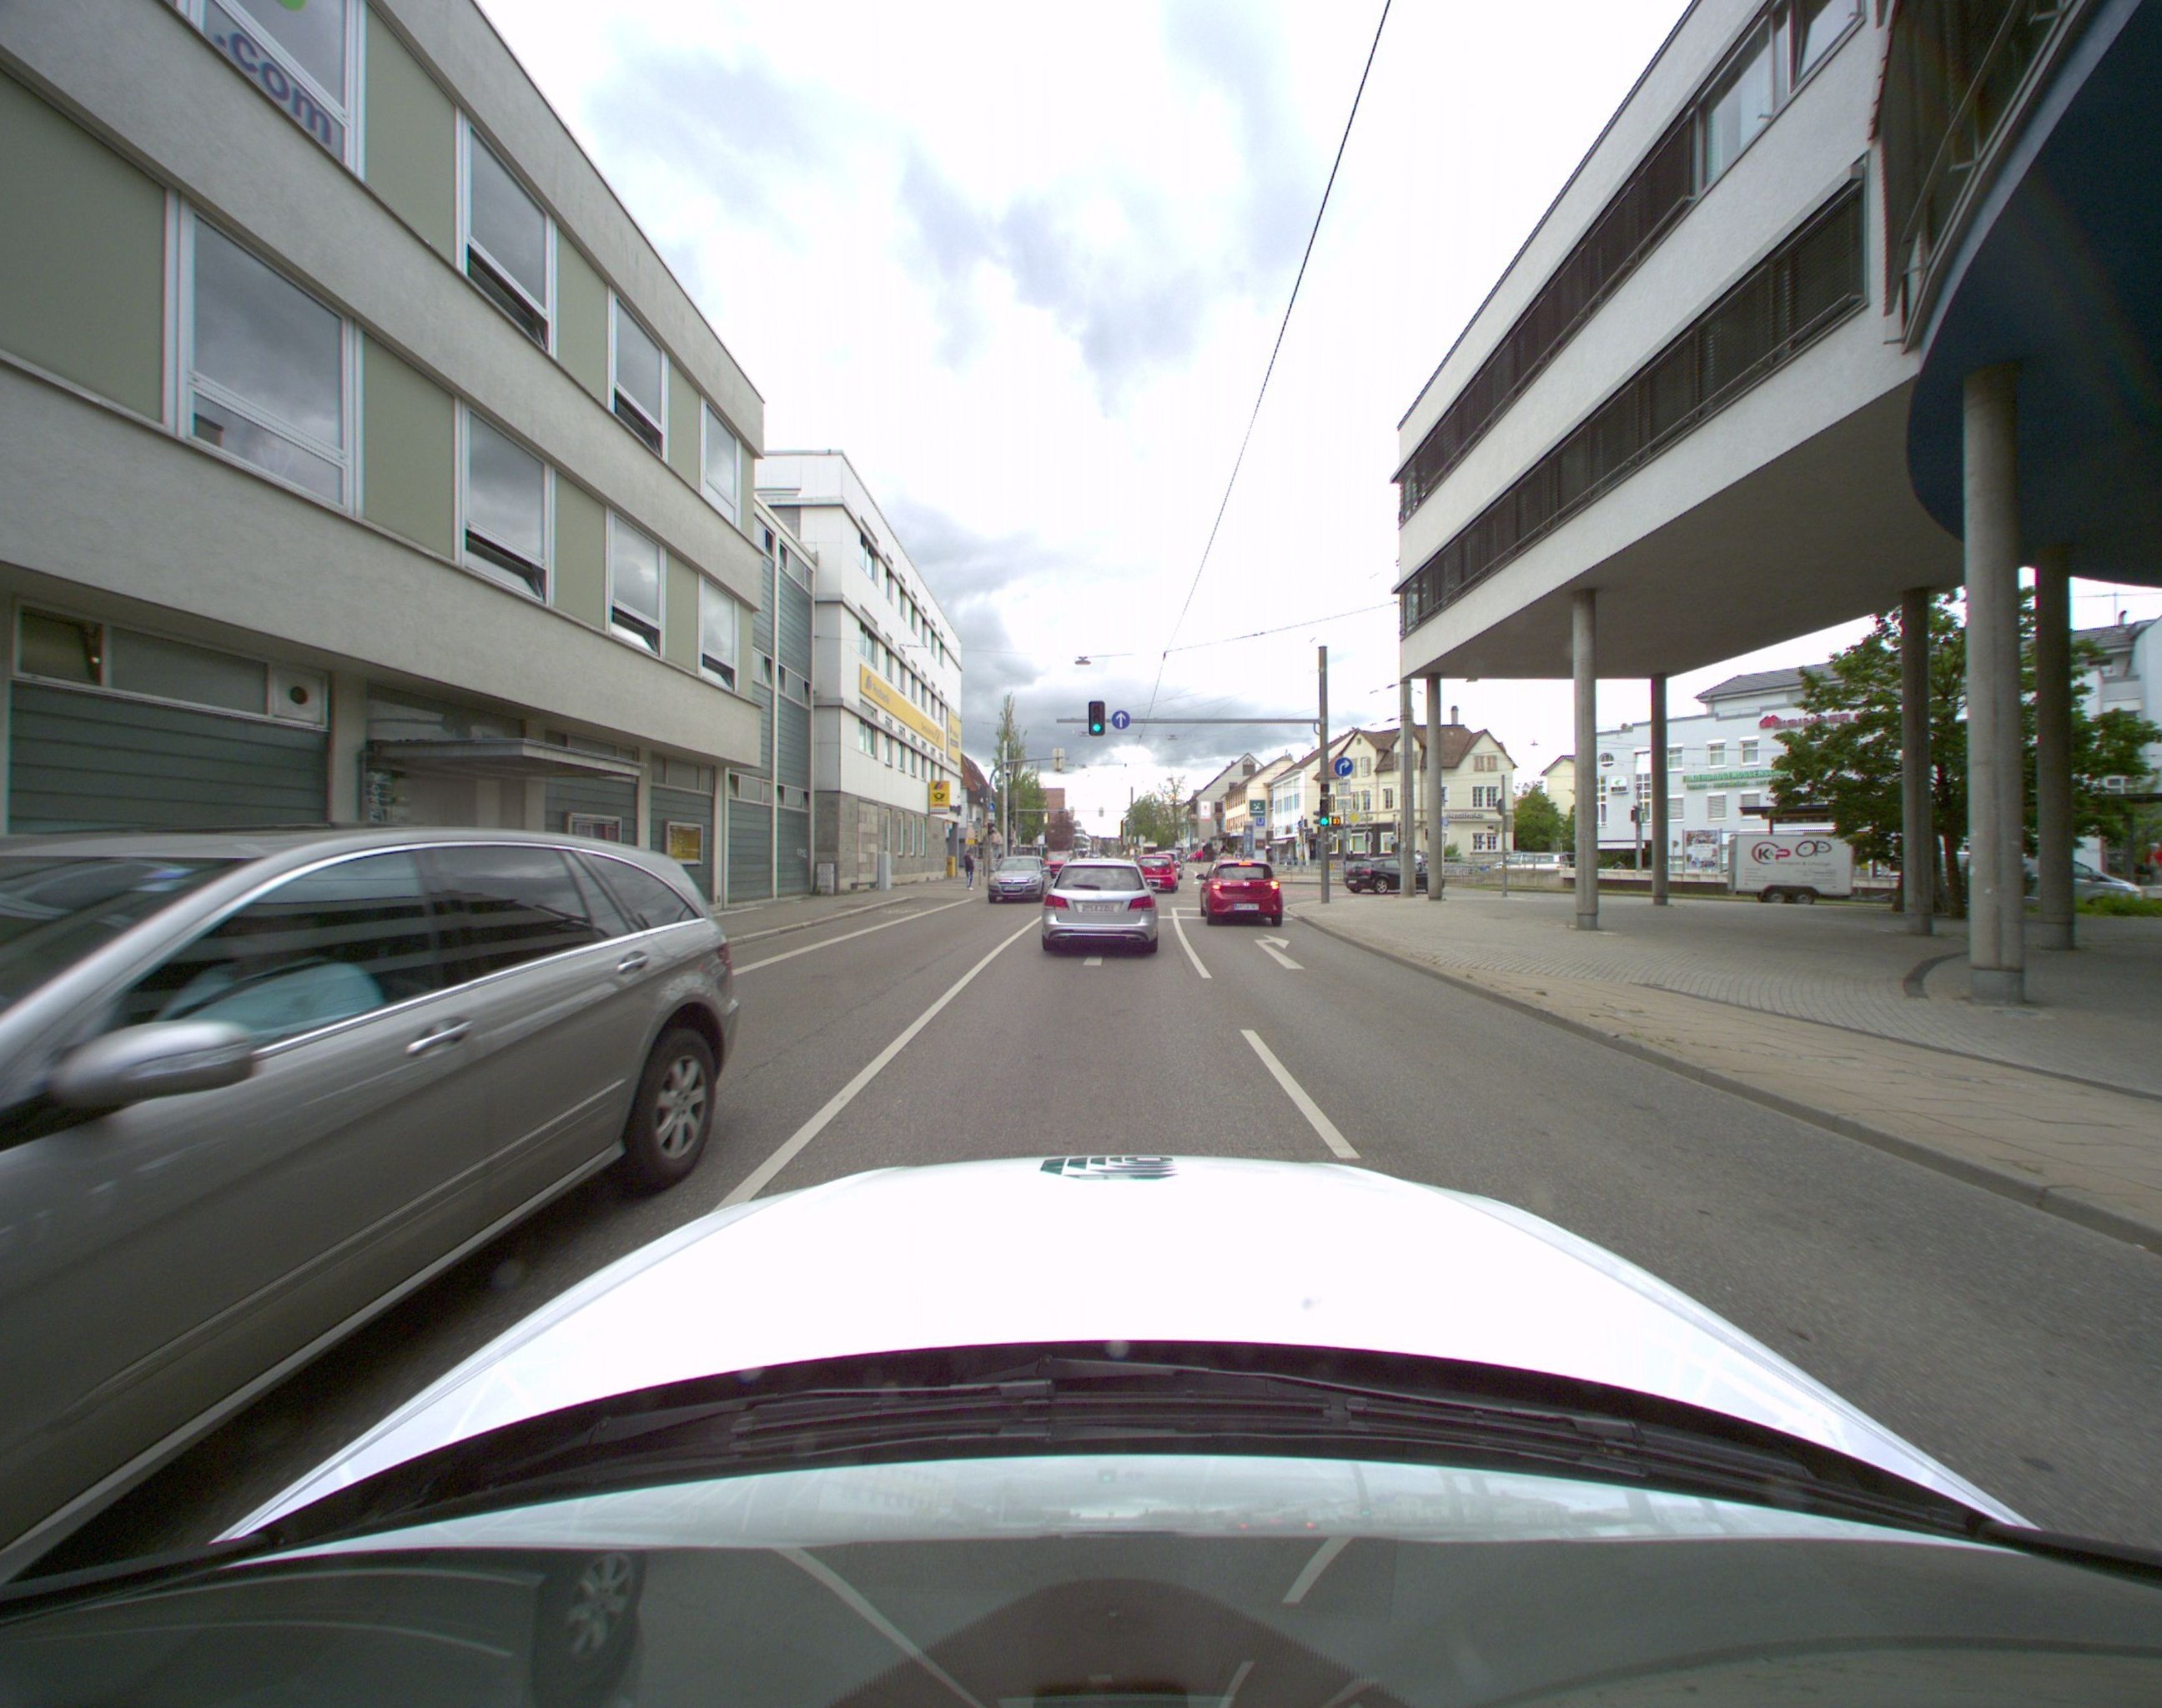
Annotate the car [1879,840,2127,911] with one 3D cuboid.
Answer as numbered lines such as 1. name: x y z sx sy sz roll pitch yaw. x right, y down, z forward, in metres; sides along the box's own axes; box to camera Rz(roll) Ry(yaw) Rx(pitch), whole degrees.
1. car: 28.803 0.619 25.737 4.843 1.945 1.896 2 0 34

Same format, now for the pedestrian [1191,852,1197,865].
1. pedestrian: 14.496 0.573 104.402 0.577 1.666 0.649 1 0 -6

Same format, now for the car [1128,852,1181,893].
1. car: 3.024 0.696 32.714 1.723 1.508 4.012 0 0 11

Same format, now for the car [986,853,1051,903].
1. car: -1.968 0.731 26.603 1.651 1.466 3.922 -1 0 2

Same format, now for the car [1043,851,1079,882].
1. car: -1.113 0.676 46.627 1.792 1.694 3.899 -1 0 2

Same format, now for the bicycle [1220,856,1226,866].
1. bicycle: 15.882 0.746 91.227 0.446 1.107 2.150 0 0 2

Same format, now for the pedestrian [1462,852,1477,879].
1. pedestrian: 24.533 0.713 51.397 0.641 1.718 0.794 2 0 40

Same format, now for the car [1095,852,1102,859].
1. car: 5.331 0.371 251.588 1.987 2.013 4.000 0 0 0

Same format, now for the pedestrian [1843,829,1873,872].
1. pedestrian: 31.627 -0.140 33.177 0.779 1.718 0.694 2 0 37

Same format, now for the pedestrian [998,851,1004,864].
1. pedestrian: -10.439 0.471 105.976 0.704 1.606 0.576 0 0 -20

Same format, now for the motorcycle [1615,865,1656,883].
1. motorcycle: 34.291 1.219 50.391 0.767 1.073 1.958 2 -1 -38

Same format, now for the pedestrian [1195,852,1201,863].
1. pedestrian: 14.539 0.434 101.159 0.577 1.469 0.650 1 0 -4

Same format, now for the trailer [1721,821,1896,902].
1. trailer: 25.091 0.216 28.329 4.267 2.613 1.896 2 0 34

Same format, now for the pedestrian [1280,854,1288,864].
1. pedestrian: 22.925 0.553 91.983 0.734 1.164 0.642 1 0 -1

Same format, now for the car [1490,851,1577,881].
1. car: 30.739 0.784 55.434 1.999 1.919 4.729 2 -1 -38

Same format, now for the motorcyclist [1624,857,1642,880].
1. motorcyclist: 34.220 0.920 50.481 0.767 1.394 0.685 2 -1 -38

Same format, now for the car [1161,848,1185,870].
1. car: 7.682 0.400 68.178 1.727 1.759 4.003 0 0 3

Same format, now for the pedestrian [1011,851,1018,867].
1. pedestrian: -6.709 0.514 82.181 0.634 1.606 0.702 0 0 -12

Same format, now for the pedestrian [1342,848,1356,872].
1. pedestrian: 18.964 0.431 57.582 0.704 1.718 0.646 0 0 -16

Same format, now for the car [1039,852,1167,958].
1. car: 0.307 0.746 13.977 1.840 1.508 4.169 1 0 -1

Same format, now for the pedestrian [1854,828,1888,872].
1. pedestrian: 32.655 -0.172 33.672 0.683 1.774 0.792 1 0 11

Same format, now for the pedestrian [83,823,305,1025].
1. pedestrian: -8.083 0.601 7.486 0.859 1.718 1.031 1 0 -1

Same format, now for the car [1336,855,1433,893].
1. car: 12.235 0.763 32.768 4.017 1.410 1.721 -1 0 -36

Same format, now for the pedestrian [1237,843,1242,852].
1. pedestrian: 20.766 -0.828 106.763 0.531 1.218 0.579 1 0 -1

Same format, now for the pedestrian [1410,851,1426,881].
1. pedestrian: 19.985 0.707 48.285 0.708 1.718 0.642 0 0 -42

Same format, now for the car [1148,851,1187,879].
1. car: 4.895 0.587 46.492 1.729 1.508 3.999 0 0 -1

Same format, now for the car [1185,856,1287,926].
1. car: 3.631 0.815 19.770 1.693 1.452 4.000 2 0 0

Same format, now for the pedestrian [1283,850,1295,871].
1. pedestrian: 17.105 0.498 66.958 0.839 1.718 0.726 0 0 -2

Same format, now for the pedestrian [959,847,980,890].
1. pedestrian: -4.608 0.598 33.725 0.644 1.718 0.785 1 0 8

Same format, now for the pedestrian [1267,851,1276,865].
1. pedestrian: 20.978 0.457 89.616 0.642 1.591 0.892 1 0 -19

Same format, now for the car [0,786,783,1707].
1. car: -2.745 0.709 2.468 1.769 1.632 4.770 -1 0 2

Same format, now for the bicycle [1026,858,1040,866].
1. bicycle: -6.650 1.096 113.609 1.937 1.029 0.529 1 0 -9

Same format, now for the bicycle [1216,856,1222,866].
1. bicycle: 15.434 0.756 91.234 0.446 1.091 2.150 0 0 2

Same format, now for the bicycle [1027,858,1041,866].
1. bicycle: -6.531 1.096 112.948 1.937 1.029 0.529 1 0 -9

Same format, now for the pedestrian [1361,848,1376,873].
1. pedestrian: 20.088 0.461 56.889 0.785 1.718 0.649 1 0 -2
